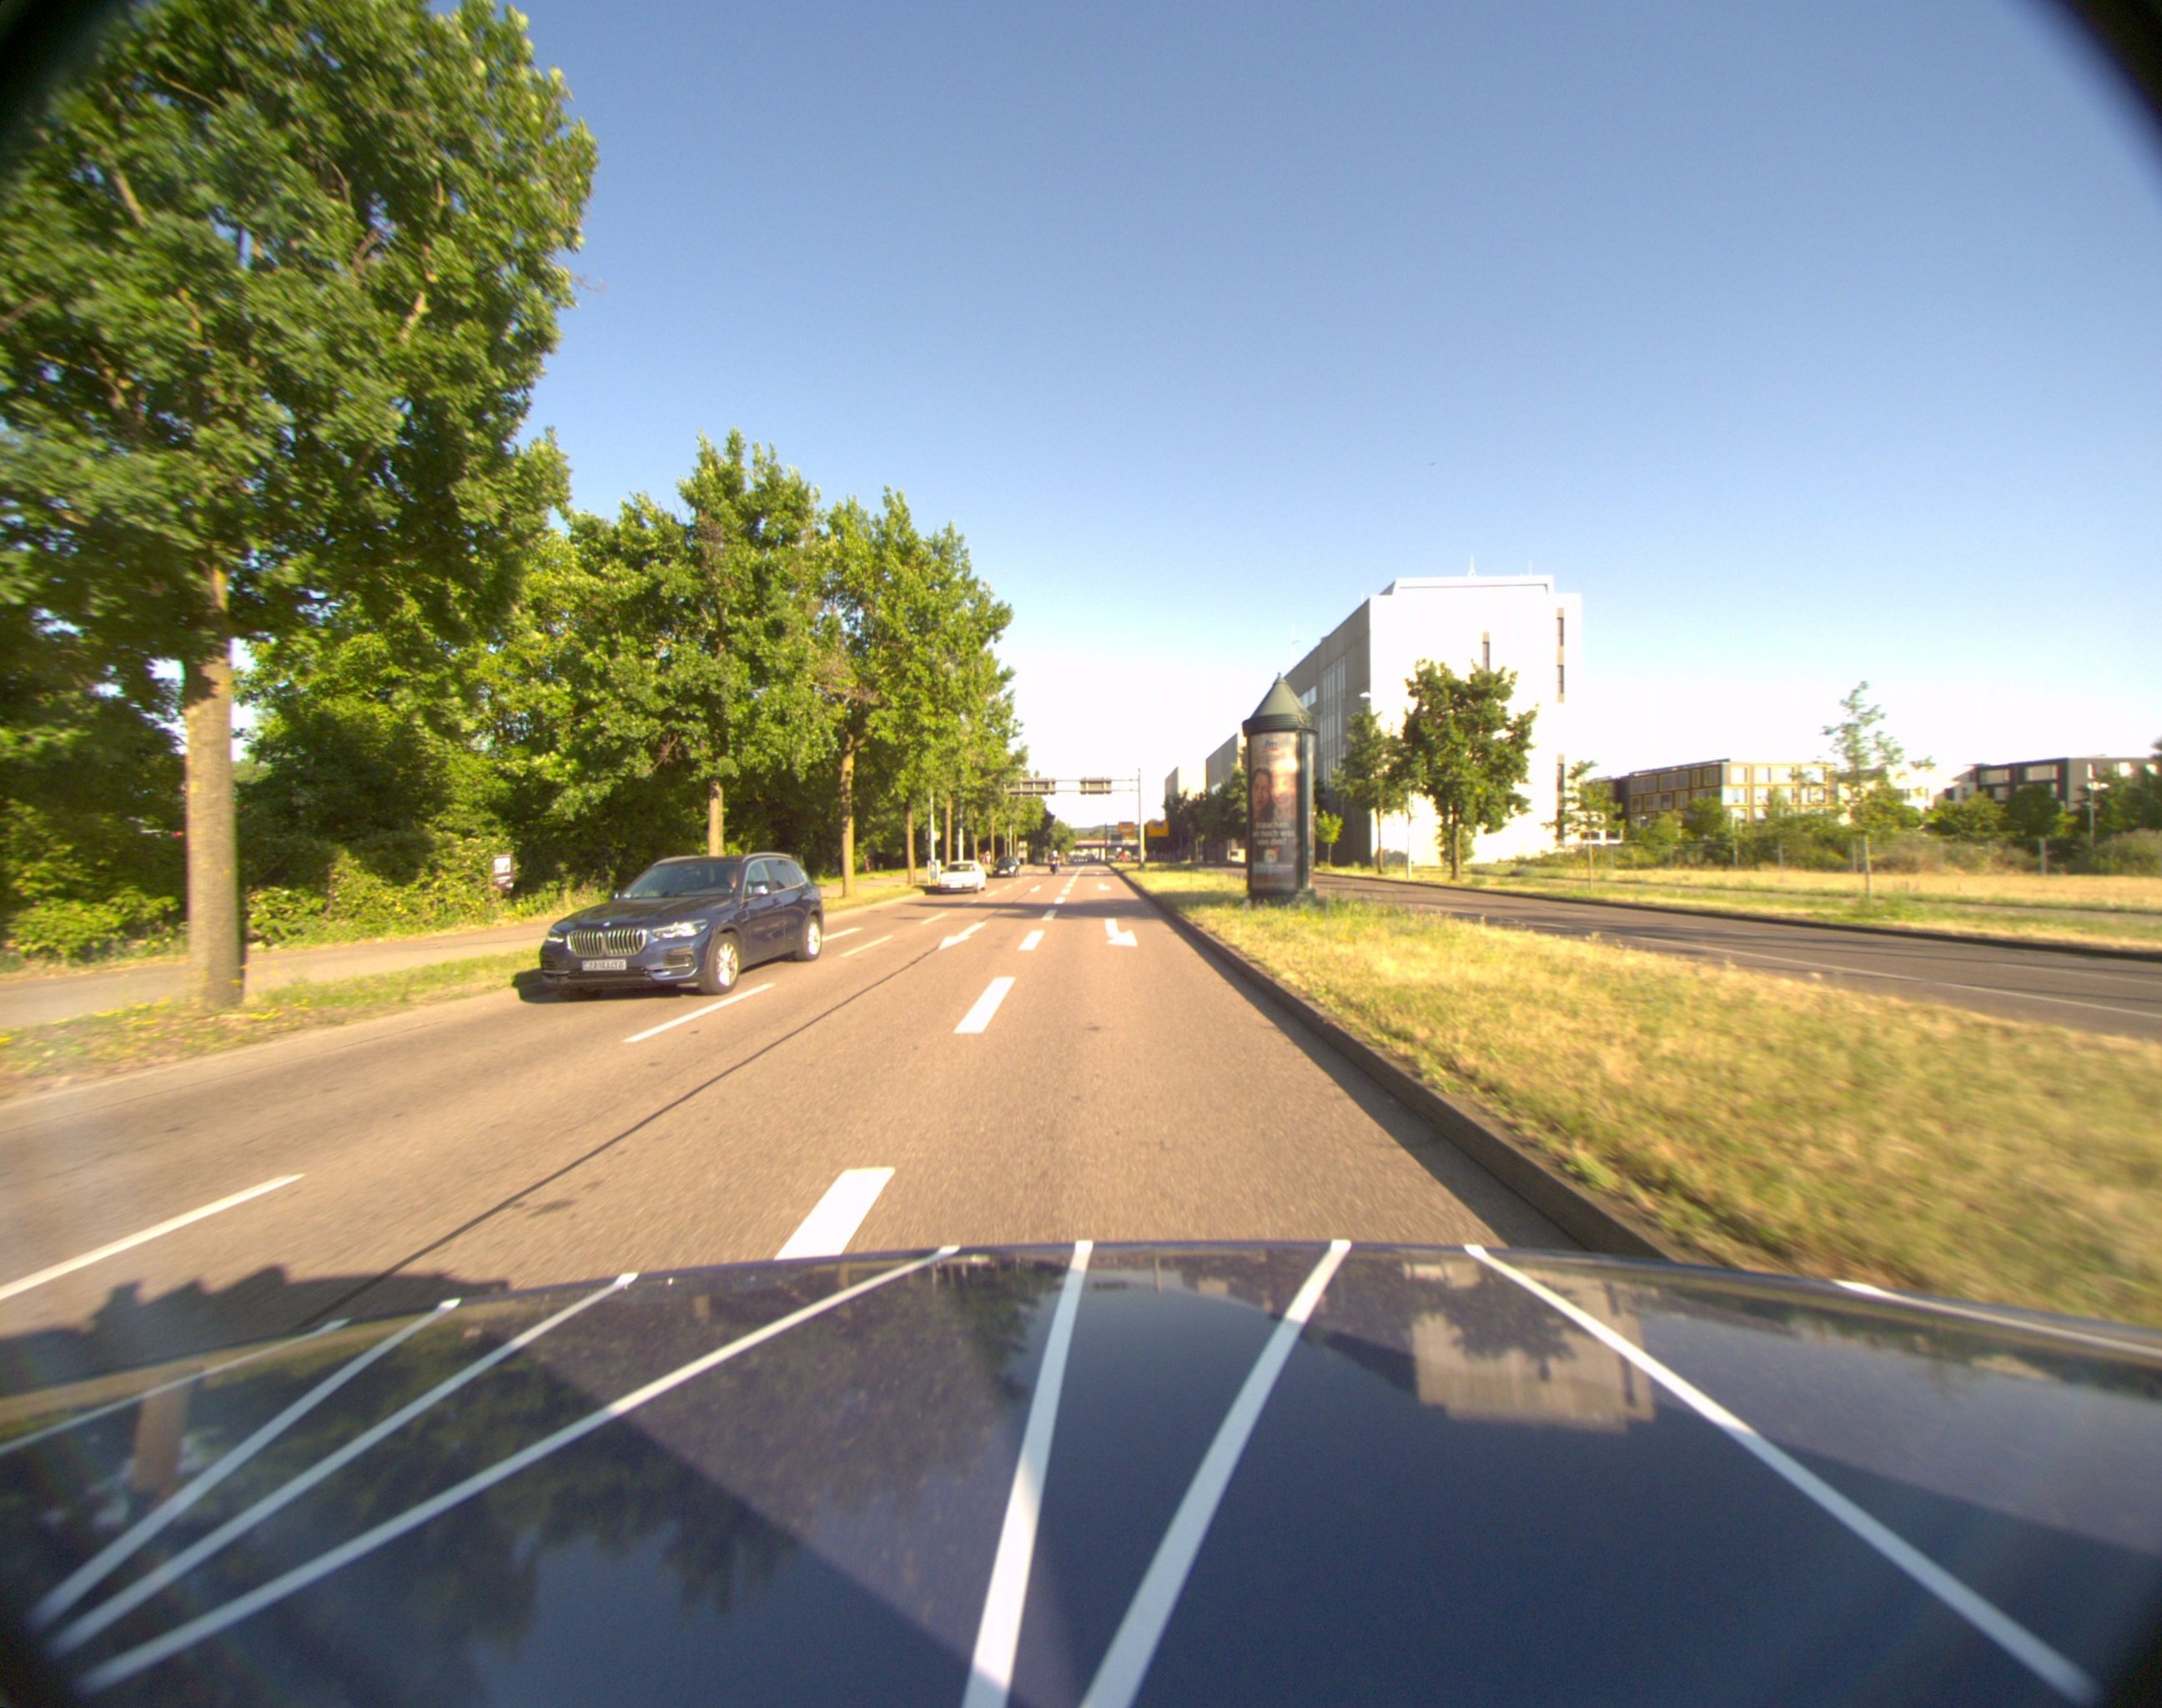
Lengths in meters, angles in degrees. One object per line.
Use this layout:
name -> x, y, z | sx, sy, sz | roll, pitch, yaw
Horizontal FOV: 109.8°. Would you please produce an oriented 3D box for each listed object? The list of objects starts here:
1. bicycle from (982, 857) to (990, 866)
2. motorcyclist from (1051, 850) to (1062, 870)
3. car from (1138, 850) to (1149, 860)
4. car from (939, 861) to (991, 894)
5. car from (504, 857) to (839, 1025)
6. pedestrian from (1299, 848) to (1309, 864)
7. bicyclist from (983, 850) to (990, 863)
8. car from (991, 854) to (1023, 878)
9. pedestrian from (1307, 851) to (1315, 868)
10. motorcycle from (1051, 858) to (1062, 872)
bicycle -> -10.921, 0.836, 87.696 | 0.618, 0.968, 1.822 | 0, 0, 3
motorcyclist -> -1.795, 0.436, 55.303 | 0.734, 1.503, 0.919 | 0, 1, 0
car -> 10.475, 0.125, 127.515 | 1.566, 1.565, 3.411 | -1, 1, -2
car -> -5.127, 1.025, 33.958 | 1.615, 1.390, 4.039 | -1, -1, 1
car -> -5.236, 0.969, 10.672 | 1.959, 1.717, 4.699 | -2, 1, 2
pedestrian -> 23.527, 0.210, 80.252 | 0.778, 1.592, 0.909 | -1, 0, 2
bicyclist -> -10.917, 0.261, 87.748 | 0.614, 1.493, 0.848 | -1, 0, 3
car -> -5.044, 0.783, 52.152 | 1.726, 1.490, 4.213 | -2, 0, 0
pedestrian -> 24.319, 0.576, 80.206 | 0.634, 1.830, 0.716 | -1, 0, 2
motorcycle -> -1.788, 0.818, 55.132 | 0.749, 0.977, 2.140 | 0, 0, 0
